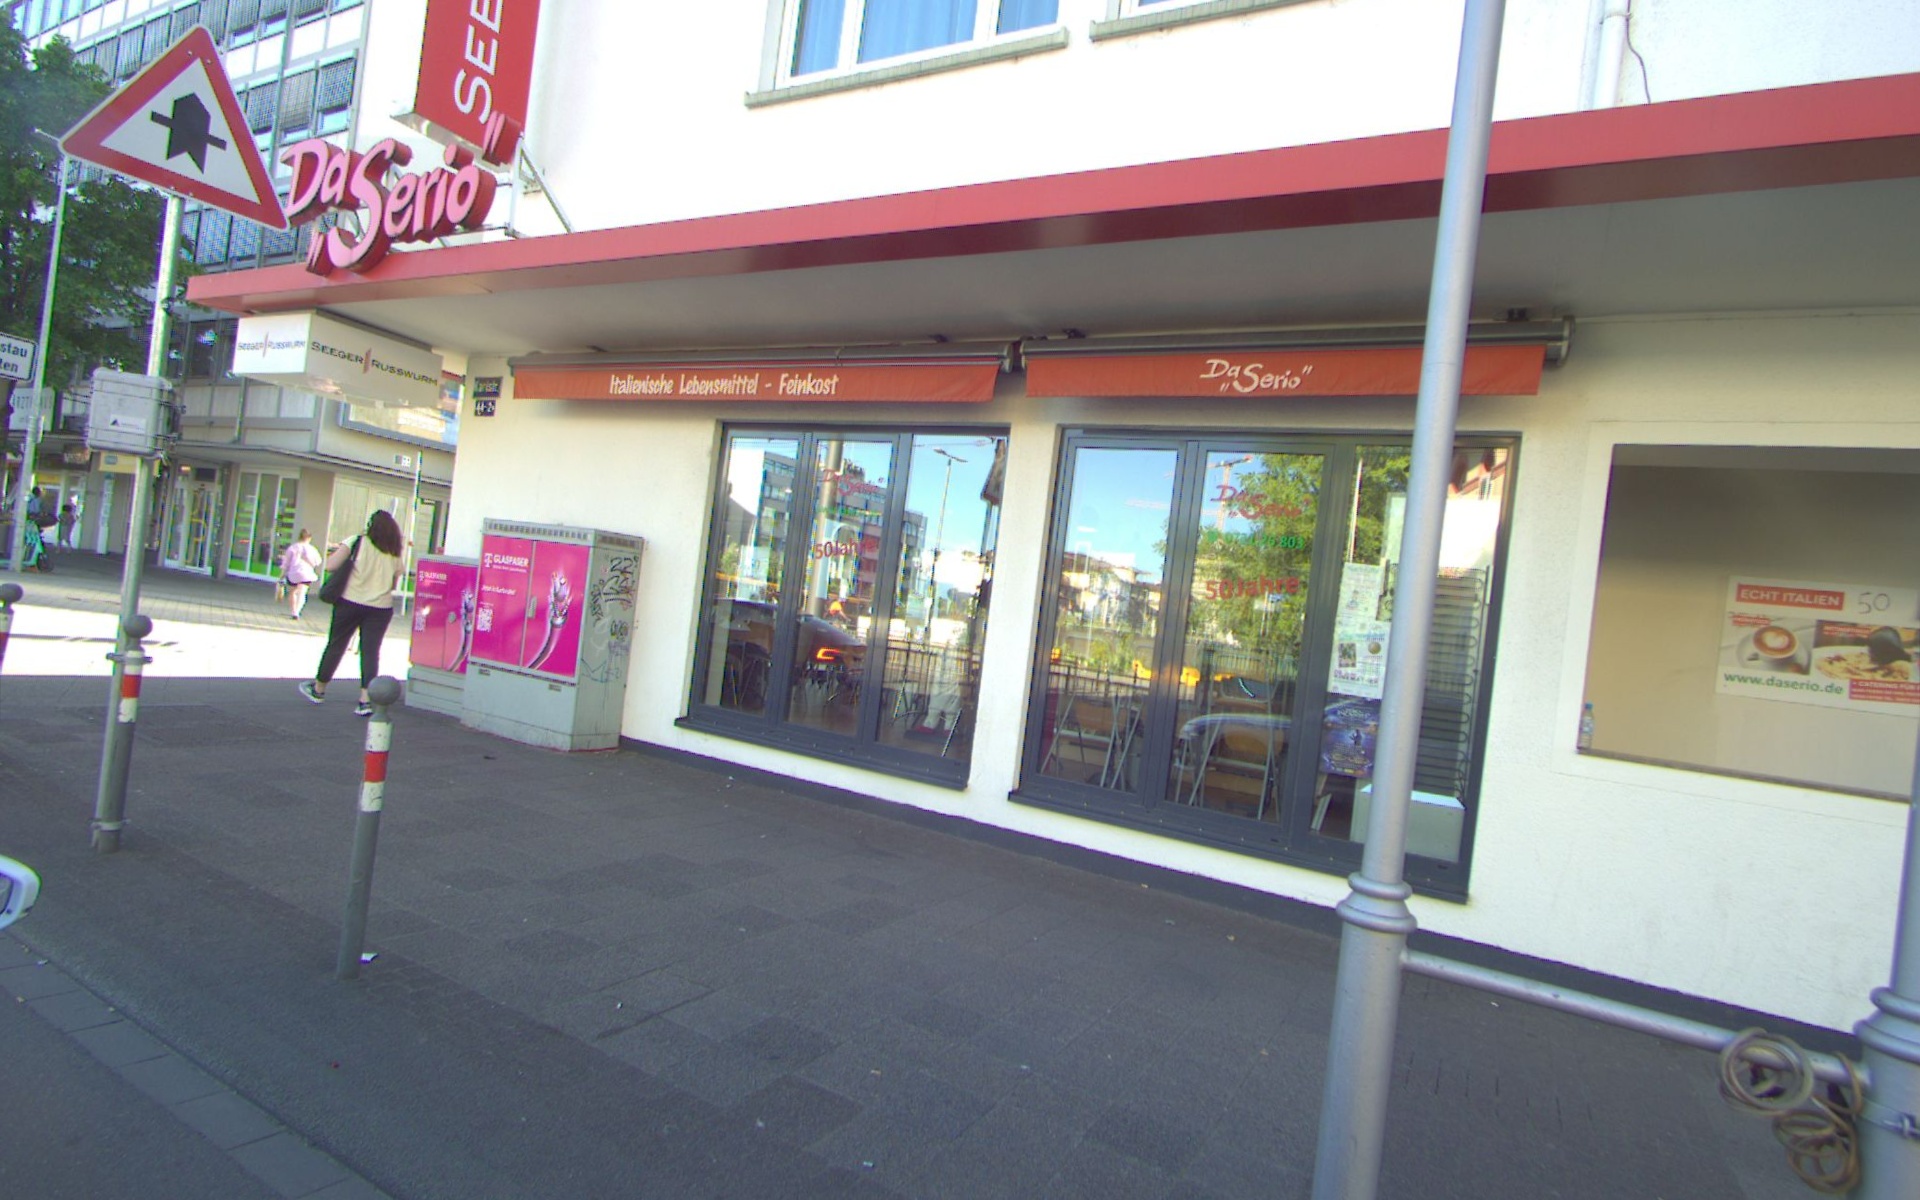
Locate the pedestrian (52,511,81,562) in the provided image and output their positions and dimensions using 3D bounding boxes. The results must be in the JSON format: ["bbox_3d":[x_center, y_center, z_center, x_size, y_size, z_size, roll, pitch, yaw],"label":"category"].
[{"bbox_3d":[-25.202,-1.798,28.374,0.504,1.359,0.390,6,-1,34],"label":"pedestrian"}]

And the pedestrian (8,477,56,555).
[{"bbox_3d":[-25.764,-2.319,27.933,0.570,2.037,0.663,6,-1,34],"label":"pedestrian"}]

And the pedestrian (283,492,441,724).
[{"bbox_3d":[-5.073,0.068,8.513,0.909,1.773,1.029,7,0,-35],"label":"pedestrian"}]

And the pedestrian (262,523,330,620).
[{"bbox_3d":[-12.512,-0.532,18.969,0.884,1.687,0.801,8,-1,-35],"label":"pedestrian"}]

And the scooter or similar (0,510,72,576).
[{"bbox_3d":[-19.940,-1.237,21.182,1.628,1.229,0.640,8,-1,-29],"label":"scooter or similar"}]

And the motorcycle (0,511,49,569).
[{"bbox_3d":[-21.569,-1.415,22.412,0.532,1.186,1.711,7,-2,30],"label":"motorcycle"}]
